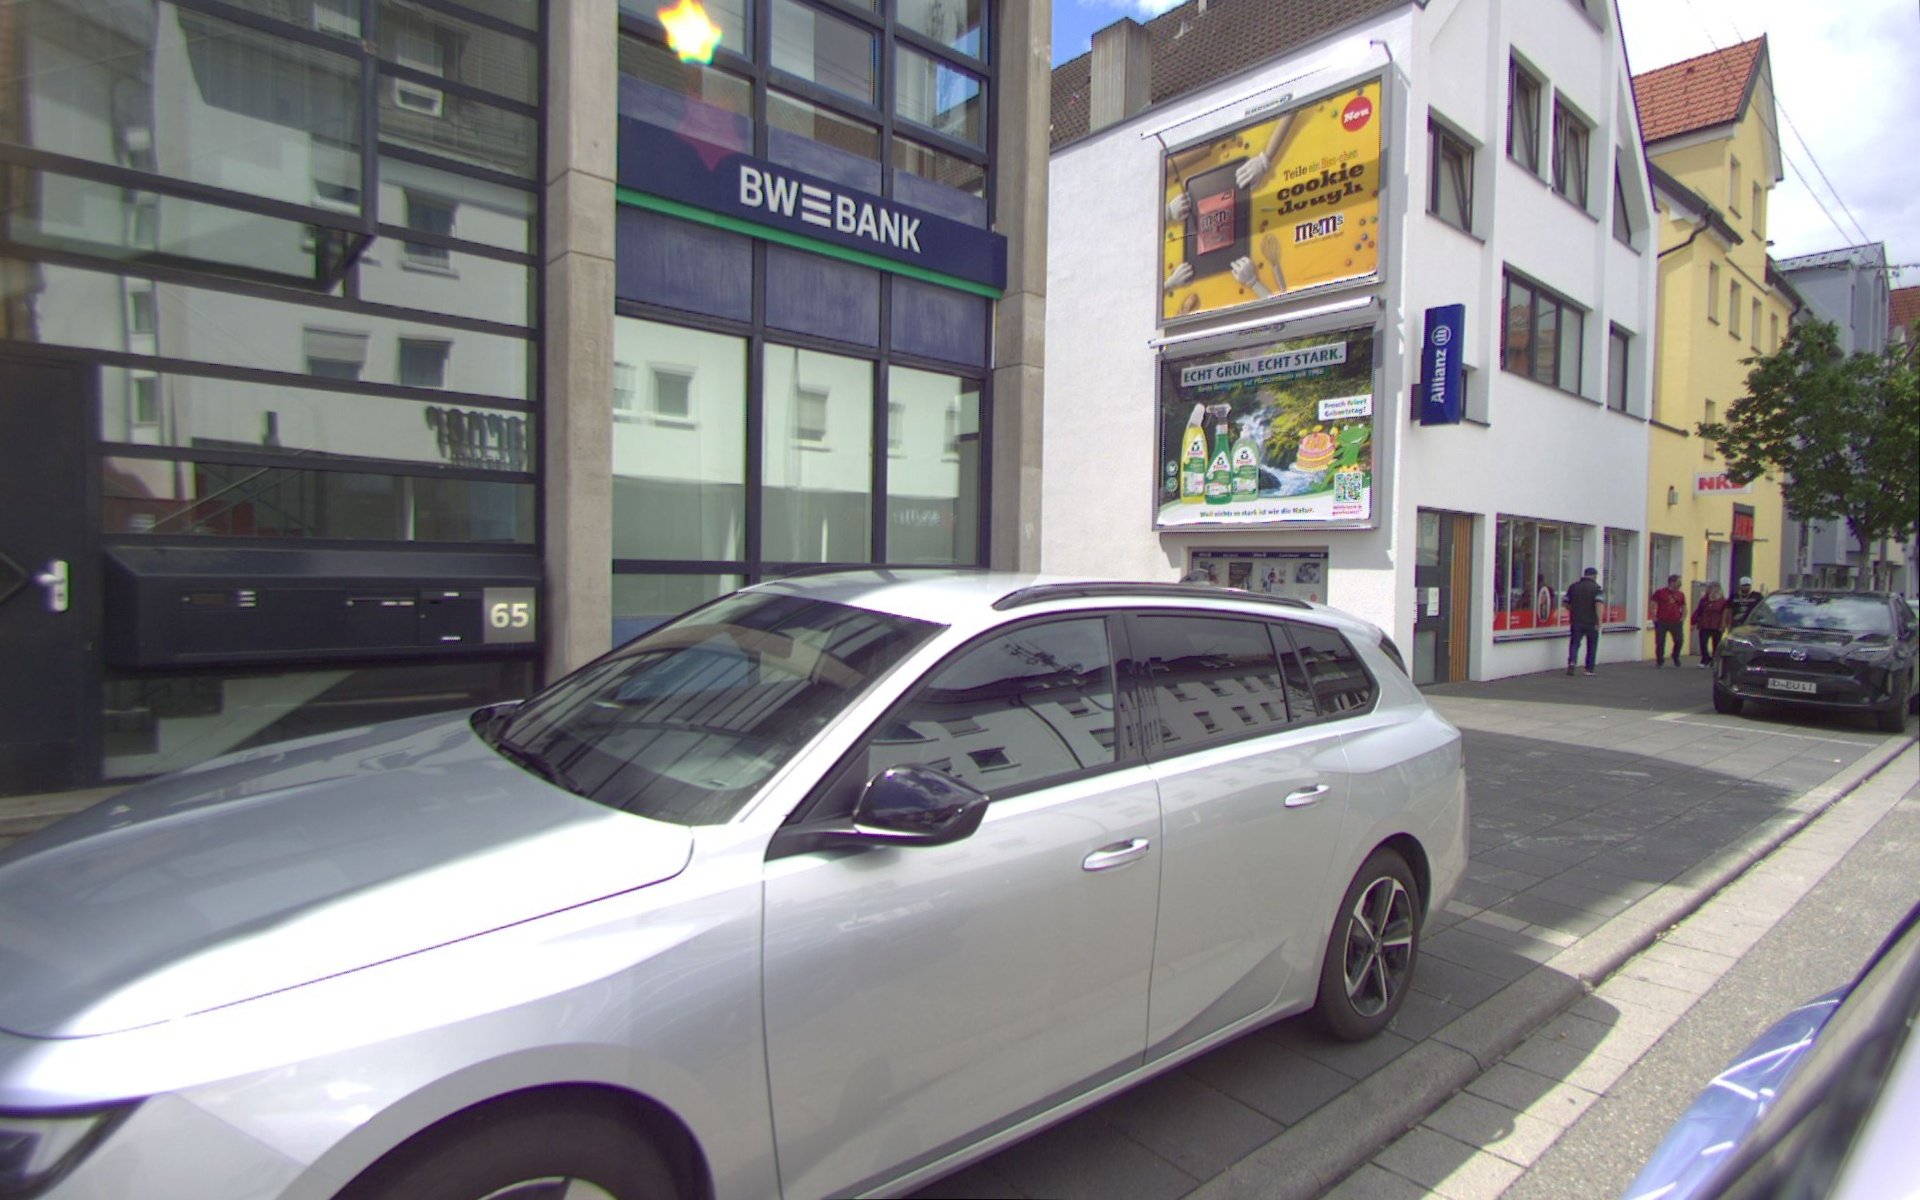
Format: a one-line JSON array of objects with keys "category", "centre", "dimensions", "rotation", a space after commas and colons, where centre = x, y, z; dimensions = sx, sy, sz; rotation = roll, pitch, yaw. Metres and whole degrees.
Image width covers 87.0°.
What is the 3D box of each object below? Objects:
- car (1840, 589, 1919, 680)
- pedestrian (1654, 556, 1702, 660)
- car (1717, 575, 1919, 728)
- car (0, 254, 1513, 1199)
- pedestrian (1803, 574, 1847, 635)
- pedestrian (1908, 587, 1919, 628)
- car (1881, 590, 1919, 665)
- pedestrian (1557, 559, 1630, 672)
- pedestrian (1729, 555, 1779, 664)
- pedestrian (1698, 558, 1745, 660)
[{"category": "car", "centre": [17.513, 0.557, 18.393], "dimensions": [4.278, 1.494, 1.724], "rotation": [-1, 1, -41]}, {"category": "pedestrian", "centre": [13.159, 0.135, 18.547], "dimensions": [0.566, 1.864, 0.589], "rotation": [-1, 0, -40]}, {"category": "car", "centre": [10.958, 0.503, 12.554], "dimensions": [4.038, 1.596, 1.724], "rotation": [-1, 1, -41]}, {"category": "car", "centre": [-0.182, 0.456, 2.995], "dimensions": [4.349, 1.597, 1.725], "rotation": [2, -1, -40]}, {"category": "pedestrian", "centre": [22.890, 0.101, 26.783], "dimensions": [0.713, 1.572, 0.751], "rotation": [-1, 2, -41]}, {"category": "pedestrian", "centre": [41.241, 0.332, 43.694], "dimensions": [0.528, 1.739, 0.436], "rotation": [-1, 0, -44]}, {"category": "car", "centre": [21.593, 0.545, 22.037], "dimensions": [4.869, 1.494, 1.634], "rotation": [-1, 1, -40]}, {"category": "pedestrian", "centre": [10.273, 0.224, 16.424], "dimensions": [0.744, 1.758, 0.743], "rotation": [-1, 3, -40]}, {"category": "pedestrian", "centre": [13.933, 0.153, 17.755], "dimensions": [0.566, 1.864, 0.589], "rotation": [-1, 0, -40]}, {"category": "pedestrian", "centre": [14.111, 0.155, 18.761], "dimensions": [0.566, 1.864, 0.589], "rotation": [-1, 0, -40]}]
